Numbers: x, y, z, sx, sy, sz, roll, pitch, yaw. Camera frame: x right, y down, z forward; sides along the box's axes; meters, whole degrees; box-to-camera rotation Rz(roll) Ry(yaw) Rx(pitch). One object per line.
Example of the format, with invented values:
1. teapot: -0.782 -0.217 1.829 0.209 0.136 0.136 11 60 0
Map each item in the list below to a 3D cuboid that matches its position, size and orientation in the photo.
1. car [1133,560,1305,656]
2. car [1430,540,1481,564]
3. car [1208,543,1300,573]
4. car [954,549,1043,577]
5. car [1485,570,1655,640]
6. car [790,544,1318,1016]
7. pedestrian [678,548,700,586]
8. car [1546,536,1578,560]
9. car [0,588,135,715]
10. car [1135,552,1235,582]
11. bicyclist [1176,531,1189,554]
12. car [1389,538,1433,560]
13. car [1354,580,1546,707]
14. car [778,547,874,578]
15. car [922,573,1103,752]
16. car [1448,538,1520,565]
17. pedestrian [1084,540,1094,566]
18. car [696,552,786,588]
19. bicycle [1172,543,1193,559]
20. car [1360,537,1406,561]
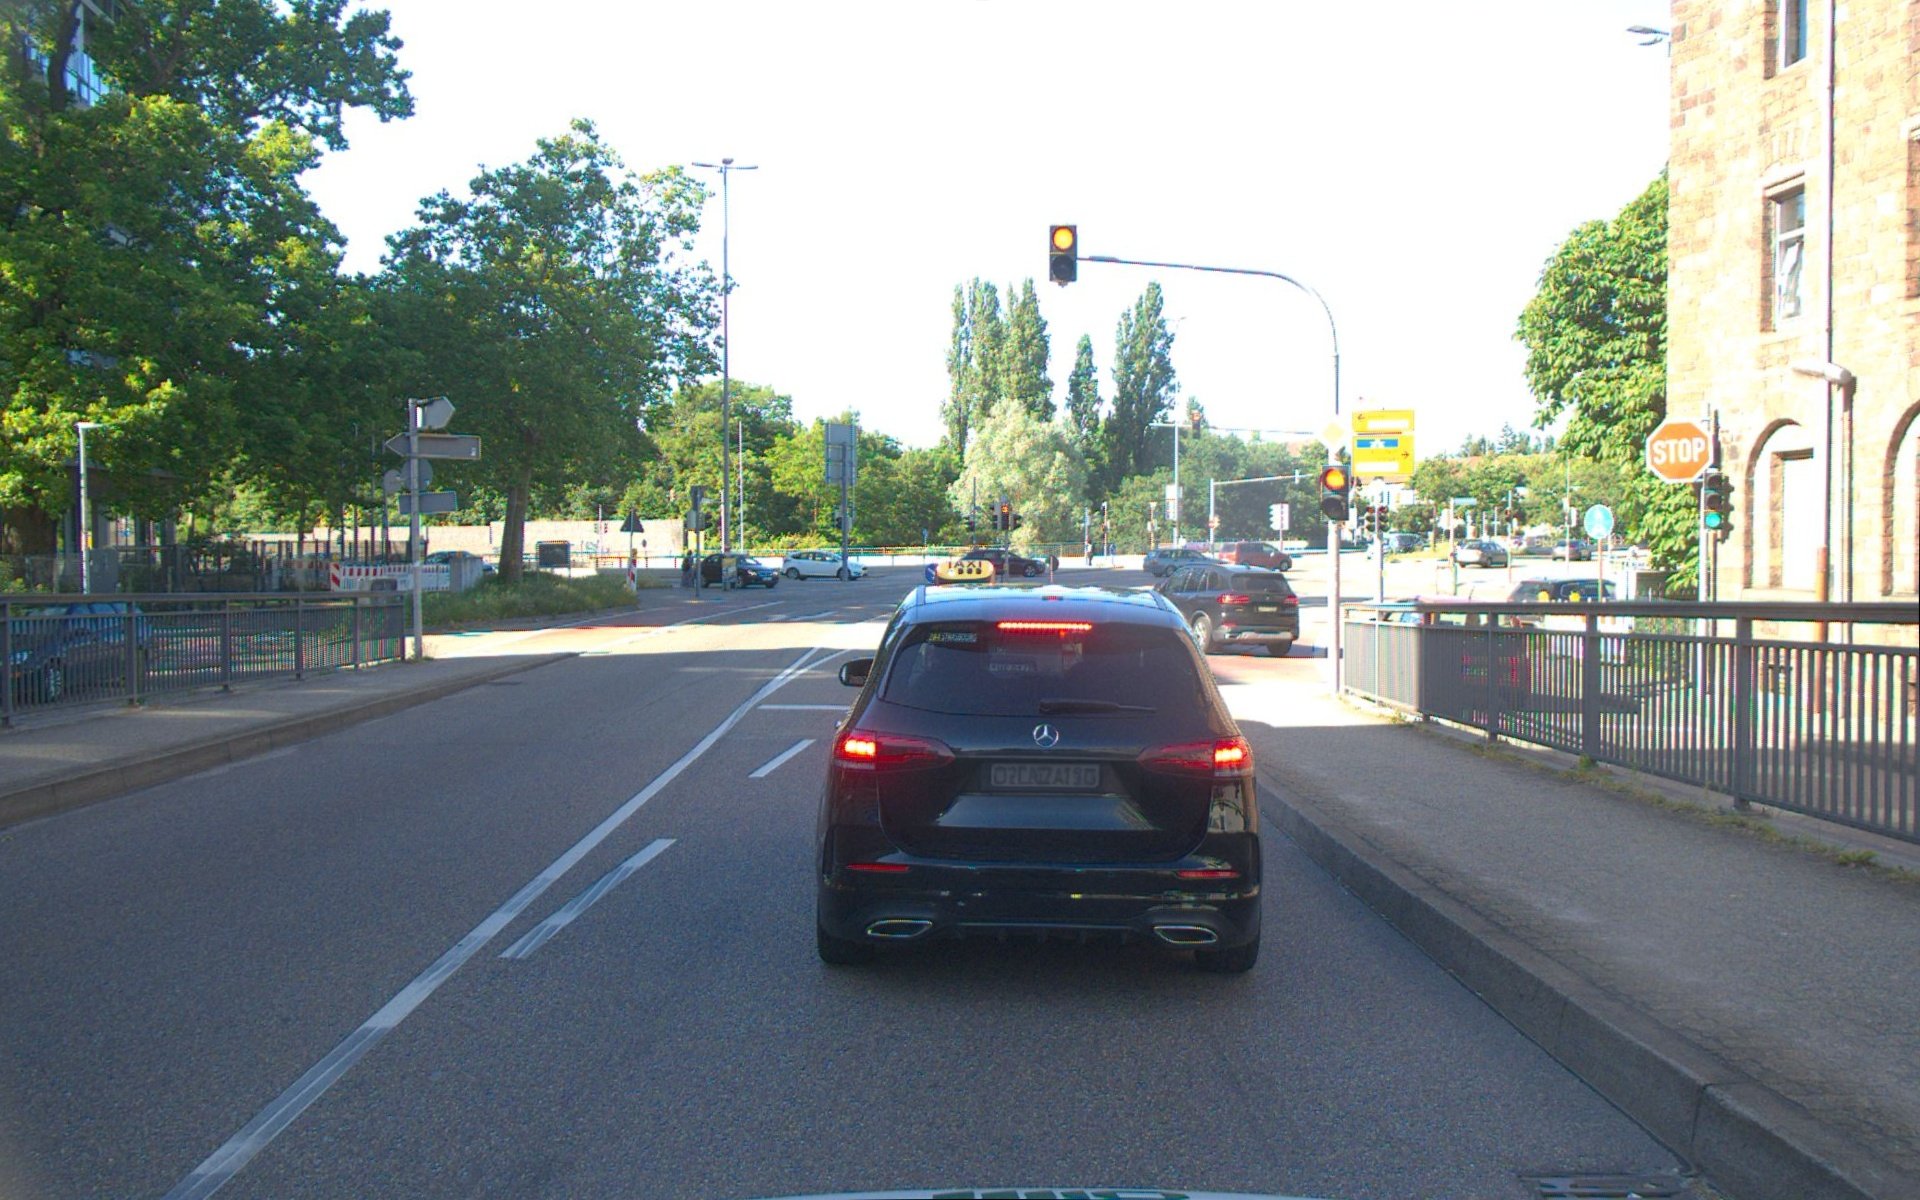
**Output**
1. car: 5.228 0.156 33.949 1.696 1.844 4.273 1 0 -19
2. car: 31.577 -3.054 105.373 1.754 1.381 4.059 1 3 39
3. car: 15.903 -2.285 89.537 4.464 1.481 1.992 -2 3 -17
4. car: 1.956 -1.904 85.266 4.487 1.317 1.886 -1 3 -2
5. car: 15.655 0.089 42.407 4.235 1.631 1.711 -1 3 -29
6. car: 0.306 0.610 7.831 1.839 1.641 4.000 1 1 -1
7. pedestrian: -11.107 -1.359 67.838 0.690 1.552 0.744 1 1 10
8. car: 39.894 -3.477 109.691 1.952 1.466 4.298 0 3 19
9. car: -14.762 0.730 25.796 1.814 1.722 4.000 0 2 -1
10. car: 11.146 -1.672 81.910 4.504 1.317 1.992 -2 3 -16
11. bicyclist: 15.129 -3.900 112.415 0.516 1.578 0.804 -1 2 35
12. car: 32.843 -3.725 120.373 1.846 1.605 3.987 1 2 35
13. car: 6.984 0.560 23.917 1.686 1.548 3.486 0 3 -1
14. car: -6.554 -1.848 81.051 4.208 1.389 2.002 -1 3 13
15. car: 0.518 0.540 16.722 1.606 1.556 3.475 -1 2 1
16. car: 30.408 -2.828 95.868 4.787 1.466 1.968 -4 4 -44
17. pedestrian: 8.226 -3.011 105.531 0.443 1.613 0.499 0 2 40
18. car: -9.253 -1.281 69.639 1.733 1.431 4.136 -2 3 -42
19. bicycle: 15.132 -3.330 112.439 0.516 1.068 1.983 -1 2 35
20. car: 29.441 -3.538 115.164 1.846 1.605 3.987 1 2 35
